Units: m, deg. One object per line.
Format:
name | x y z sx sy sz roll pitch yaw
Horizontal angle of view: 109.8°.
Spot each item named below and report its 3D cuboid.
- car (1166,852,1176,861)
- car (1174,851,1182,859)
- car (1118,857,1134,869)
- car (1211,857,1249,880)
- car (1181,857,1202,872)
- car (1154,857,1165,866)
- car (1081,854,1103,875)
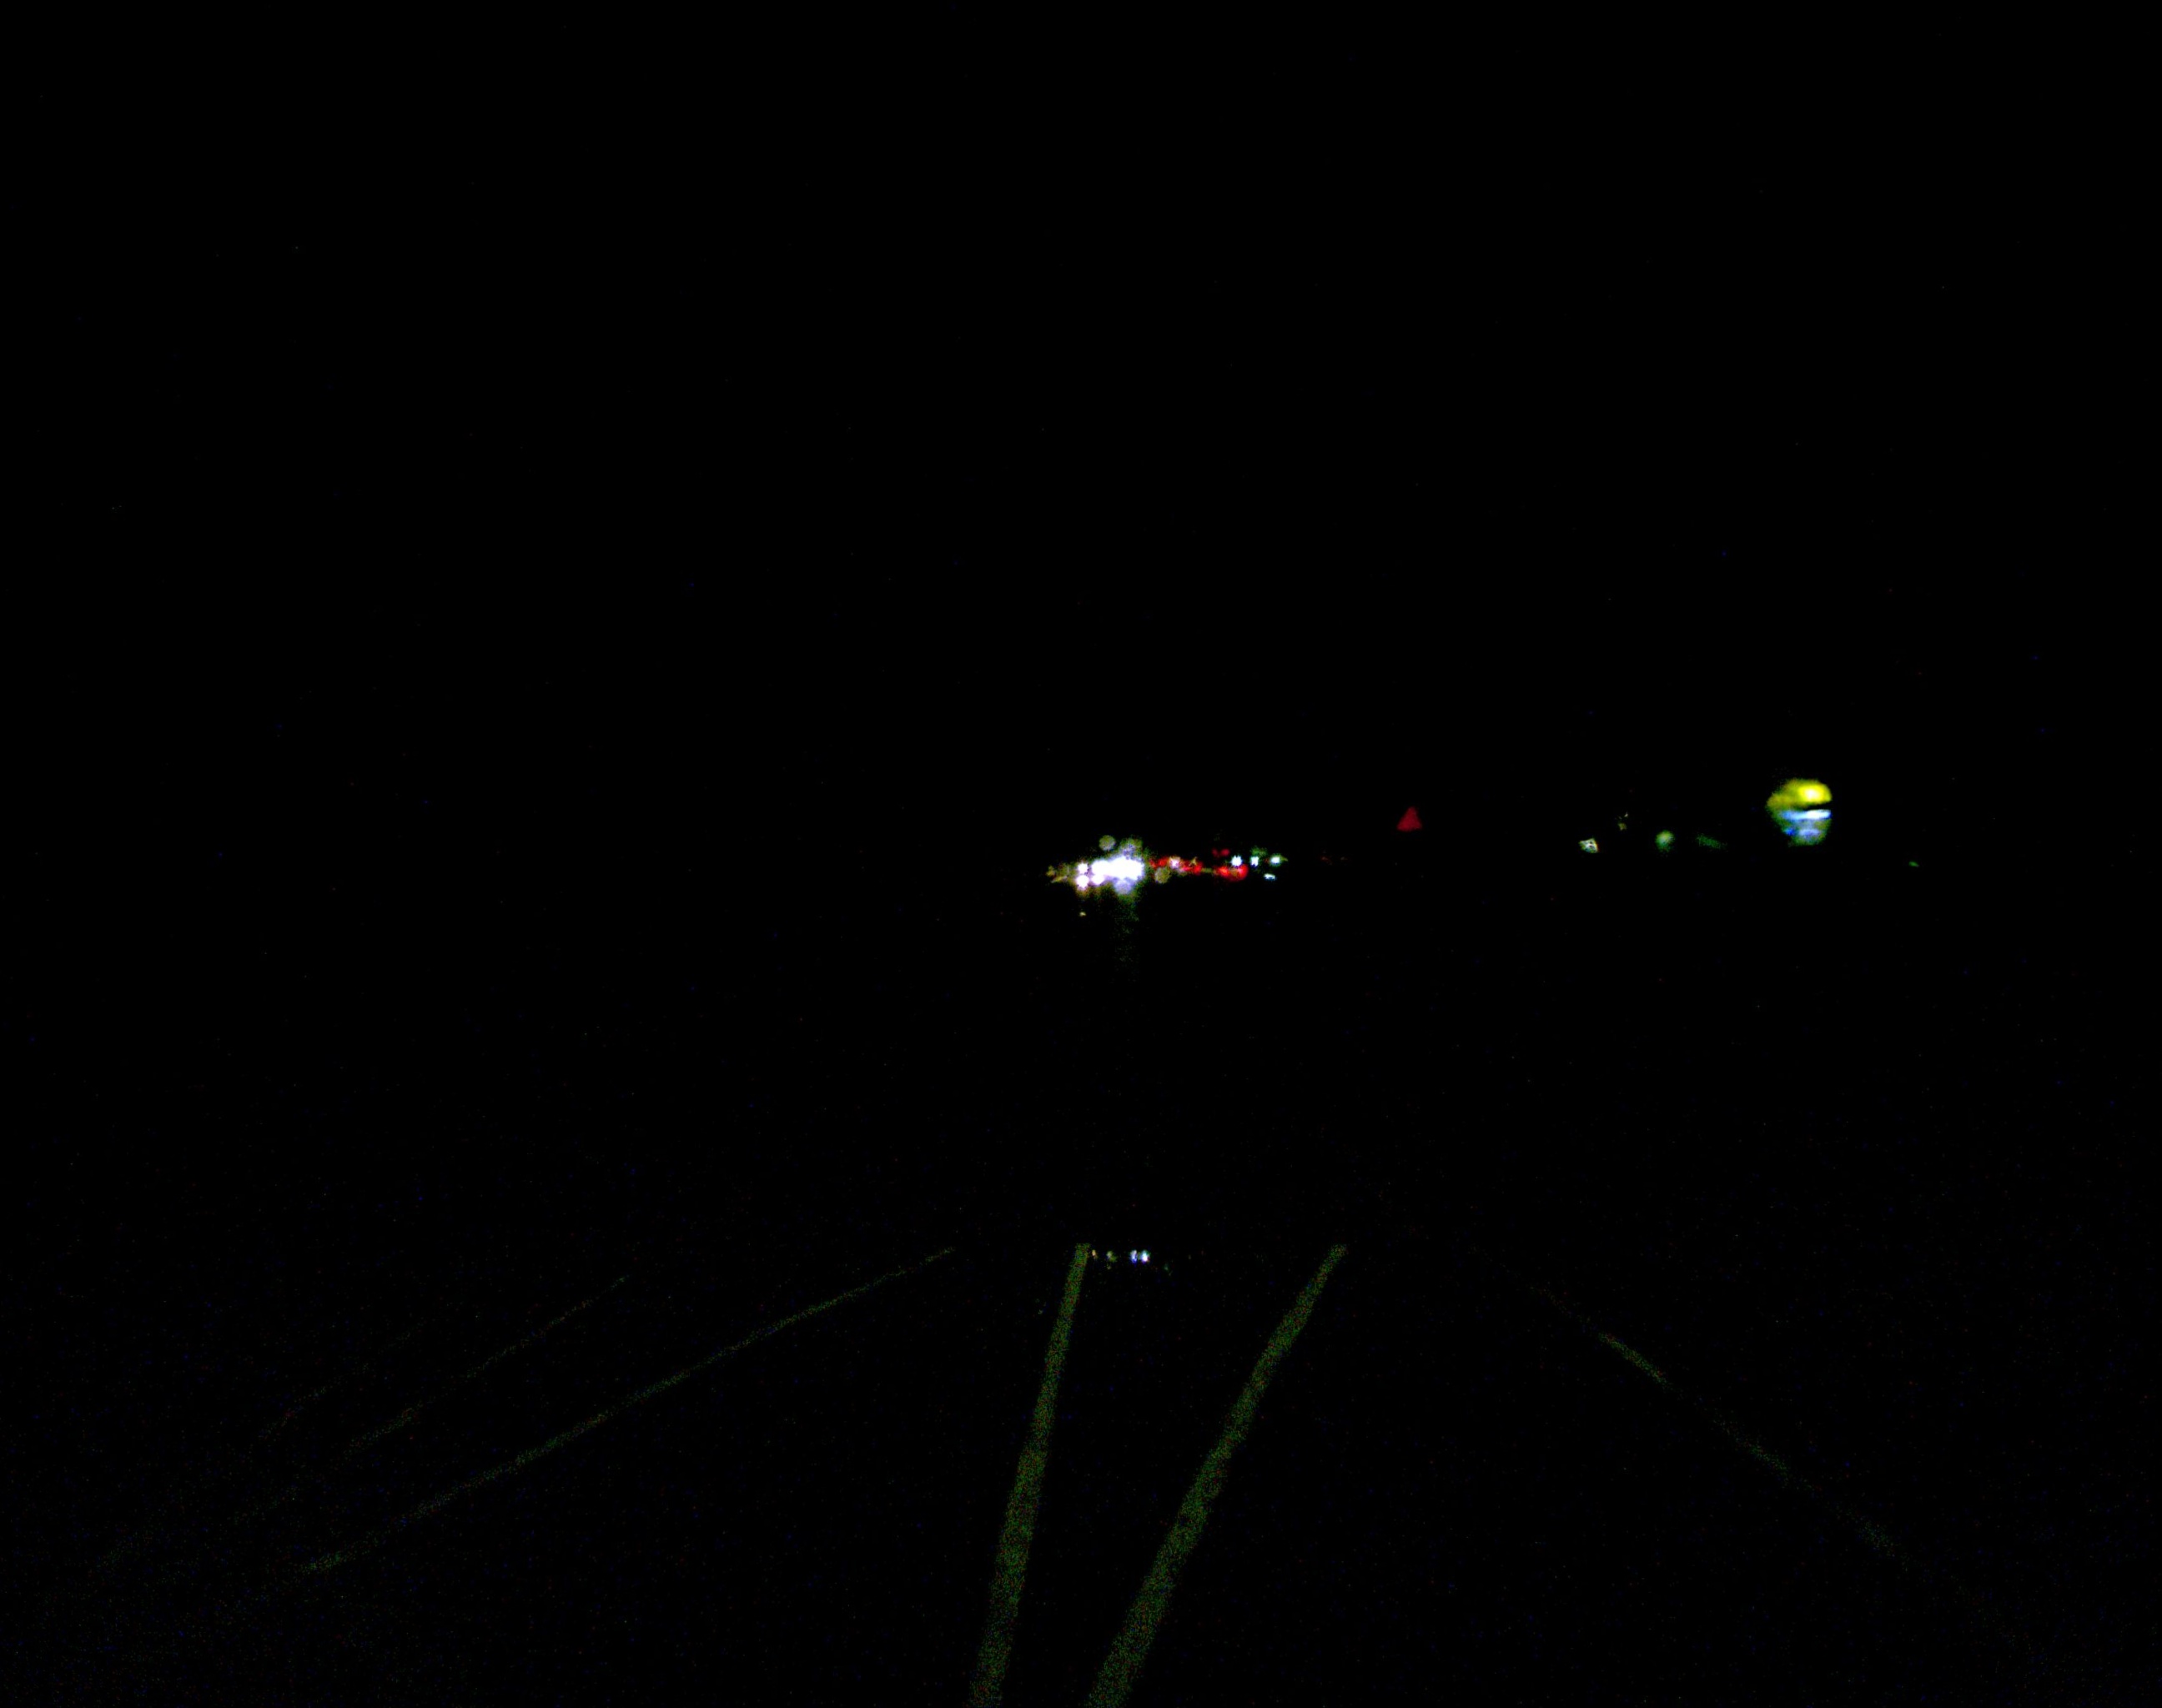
car | 21.166 0.607 178.663 1.997 2.002 4.002 -1 1 11
car | 26.054 0.172 203.571 1.997 2.002 4.002 -1 1 9
car | 6.682 1.266 112.352 1.913 1.694 4.942 -1 0 8
car | 12.090 1.164 62.102 2.094 1.691 4.577 -2 1 -1
car | 11.770 1.069 81.362 1.807 1.416 4.206 -2 1 3
car | 12.664 1.194 122.631 1.807 1.416 4.206 -2 1 6
car | 1.050 0.935 69.866 1.877 1.824 4.206 -2 0 2
